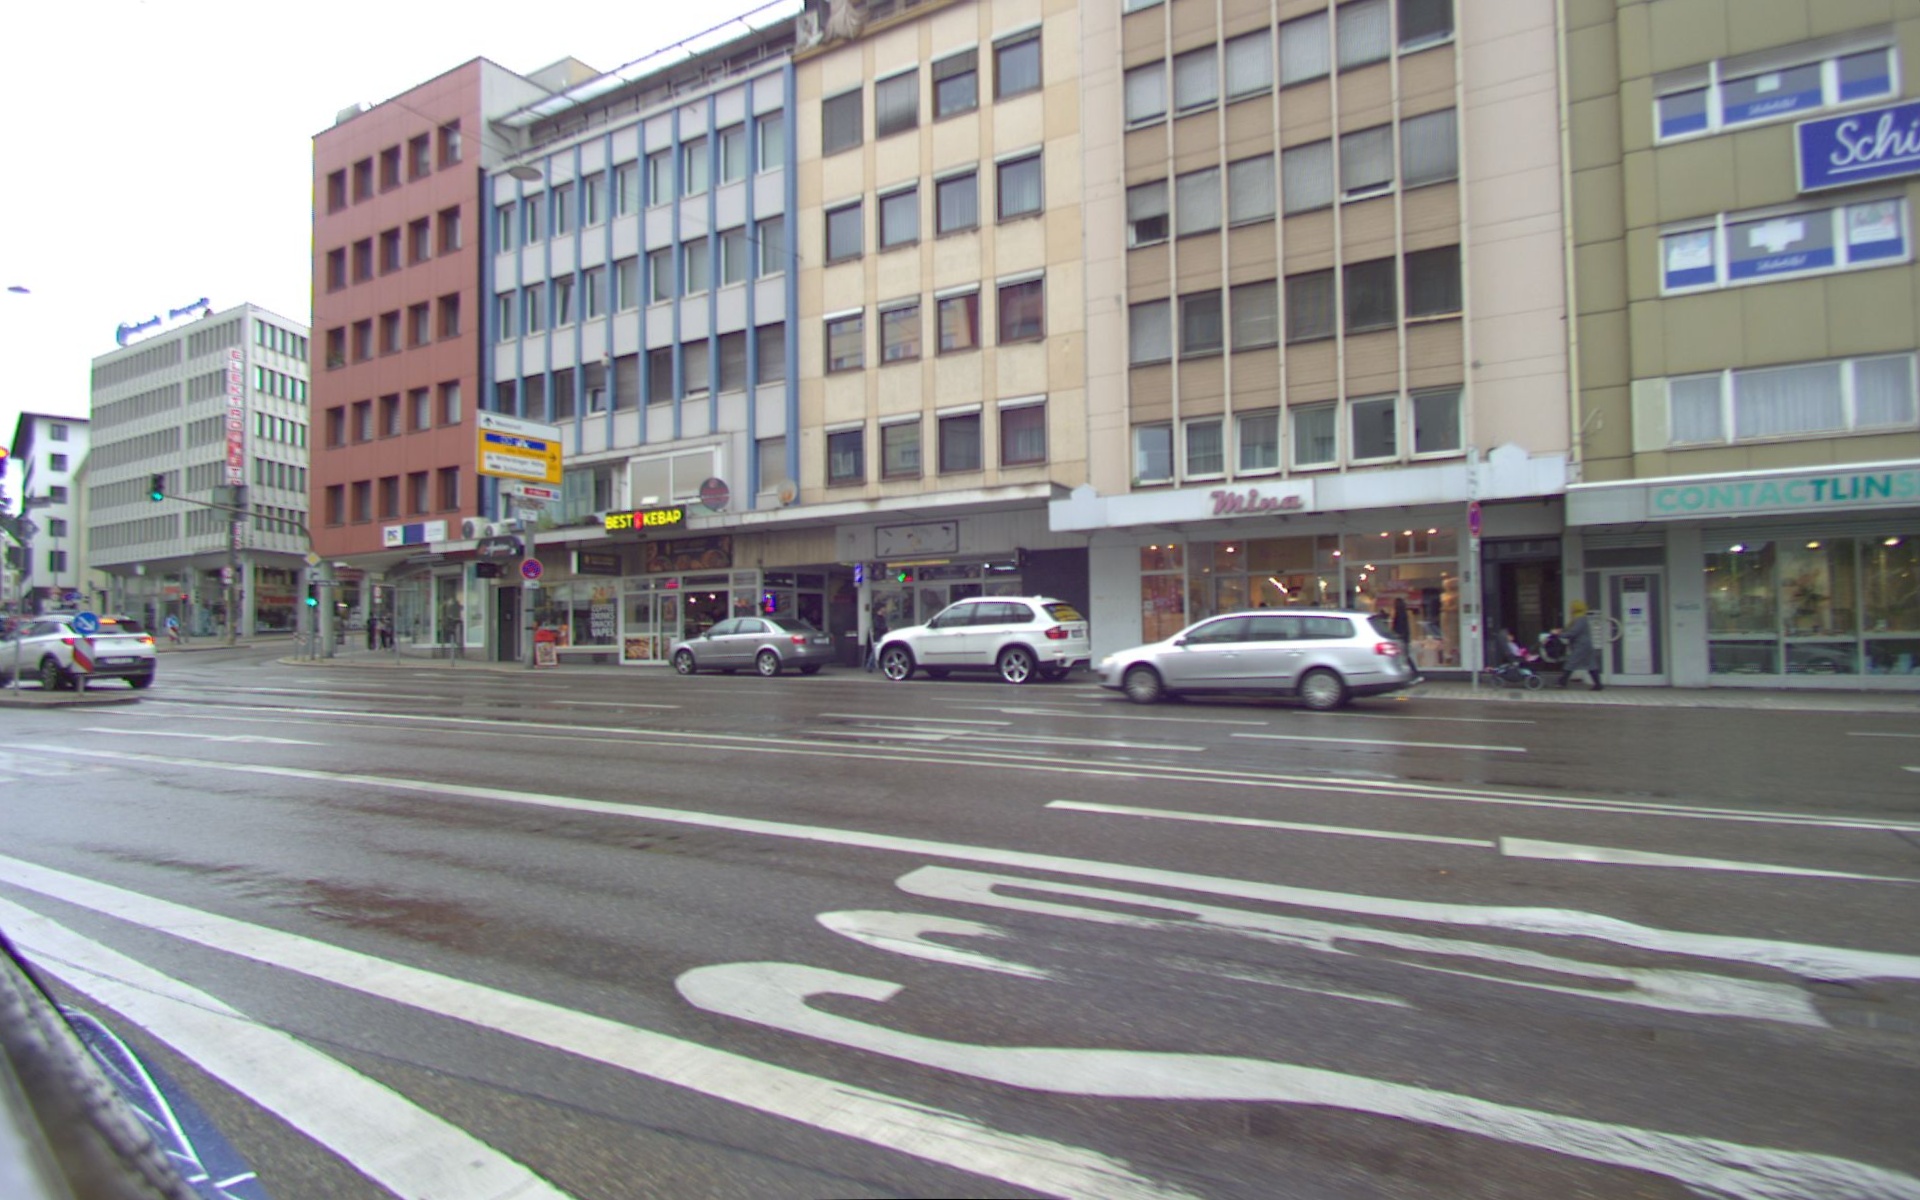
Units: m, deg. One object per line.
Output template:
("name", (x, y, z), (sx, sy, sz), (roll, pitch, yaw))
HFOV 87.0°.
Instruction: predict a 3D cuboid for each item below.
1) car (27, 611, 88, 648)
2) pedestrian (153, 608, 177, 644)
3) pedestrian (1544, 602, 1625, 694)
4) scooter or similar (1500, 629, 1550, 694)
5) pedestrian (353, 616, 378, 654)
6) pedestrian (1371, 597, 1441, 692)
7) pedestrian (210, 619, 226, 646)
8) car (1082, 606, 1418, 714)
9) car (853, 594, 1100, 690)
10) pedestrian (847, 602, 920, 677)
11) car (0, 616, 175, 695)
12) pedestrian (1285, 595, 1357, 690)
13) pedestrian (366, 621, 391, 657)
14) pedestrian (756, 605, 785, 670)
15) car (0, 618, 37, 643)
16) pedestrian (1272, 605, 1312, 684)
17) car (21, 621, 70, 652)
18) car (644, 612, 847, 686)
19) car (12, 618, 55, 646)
("car", (-56.785, 1.864, 63.681), (4.608, 2.106, 2.071), (-3, -1, 38))
("pedestrian", (-45.533, 1.481, 57.960), (0.948, 2.029, 0.980), (-2, -2, 45))
("pedestrian", (10.525, 0.812, 17.092), (1.060, 1.495, 0.662), (-3, -1, 29))
("scooter or similar", (9.775, 1.055, 17.541), (0.698, 1.062, 0.731), (-3, -1, 28))
("pedestrian", (-28.263, 1.674, 48.101), (0.723, 1.761, 0.743), (-2, -1, 1))
("pedestrian", (8.367, 0.820, 18.982), (1.082, 1.708, 0.946), (-3, -1, 29))
("pedestrian", (-44.804, 1.943, 61.115), (0.704, 1.635, 0.725), (0, -2, -42))
("car", (4.427, 0.868, 15.647), (4.731, 1.457, 1.774), (-1, -1, 28))
("car", (0.293, 0.855, 21.316), (4.945, 1.841, 1.836), (-2, -1, 31))
("pedestrian", (-1.842, 0.954, 24.358), (1.412, 1.731, 0.946), (-3, -1, 29))
("car", (-19.743, 1.225, 22.382), (4.403, 1.563, 1.983), (-2, 0, 25))
("pedestrian", (6.862, 0.803, 19.223), (1.085, 1.727, 0.946), (-3, -1, 29))
("pedestrian", (-27.148, 1.819, 47.293), (0.685, 1.642, 0.732), (-2, -1, 3))
("pedestrian", (-5.117, 1.009, 27.337), (0.582, 1.721, 0.442), (-3, -1, 31))
("car", (-68.839, 2.214, 73.803), (4.446, 1.684, 1.907), (-3, -1, 43))
("pedestrian", (6.823, 0.895, 20.795), (0.642, 1.586, 0.605), (-1, -1, 32))
("car", (-53.358, 2.119, 59.032), (1.973, 1.643, 4.618), (-2, -1, -44))
("car", (-5.255, 1.147, 24.564), (4.862, 1.620, 1.851), (-2, -1, 31))
("car", (-63.522, 2.225, 69.388), (1.997, 1.763, 4.617), (-2, -1, -44))
